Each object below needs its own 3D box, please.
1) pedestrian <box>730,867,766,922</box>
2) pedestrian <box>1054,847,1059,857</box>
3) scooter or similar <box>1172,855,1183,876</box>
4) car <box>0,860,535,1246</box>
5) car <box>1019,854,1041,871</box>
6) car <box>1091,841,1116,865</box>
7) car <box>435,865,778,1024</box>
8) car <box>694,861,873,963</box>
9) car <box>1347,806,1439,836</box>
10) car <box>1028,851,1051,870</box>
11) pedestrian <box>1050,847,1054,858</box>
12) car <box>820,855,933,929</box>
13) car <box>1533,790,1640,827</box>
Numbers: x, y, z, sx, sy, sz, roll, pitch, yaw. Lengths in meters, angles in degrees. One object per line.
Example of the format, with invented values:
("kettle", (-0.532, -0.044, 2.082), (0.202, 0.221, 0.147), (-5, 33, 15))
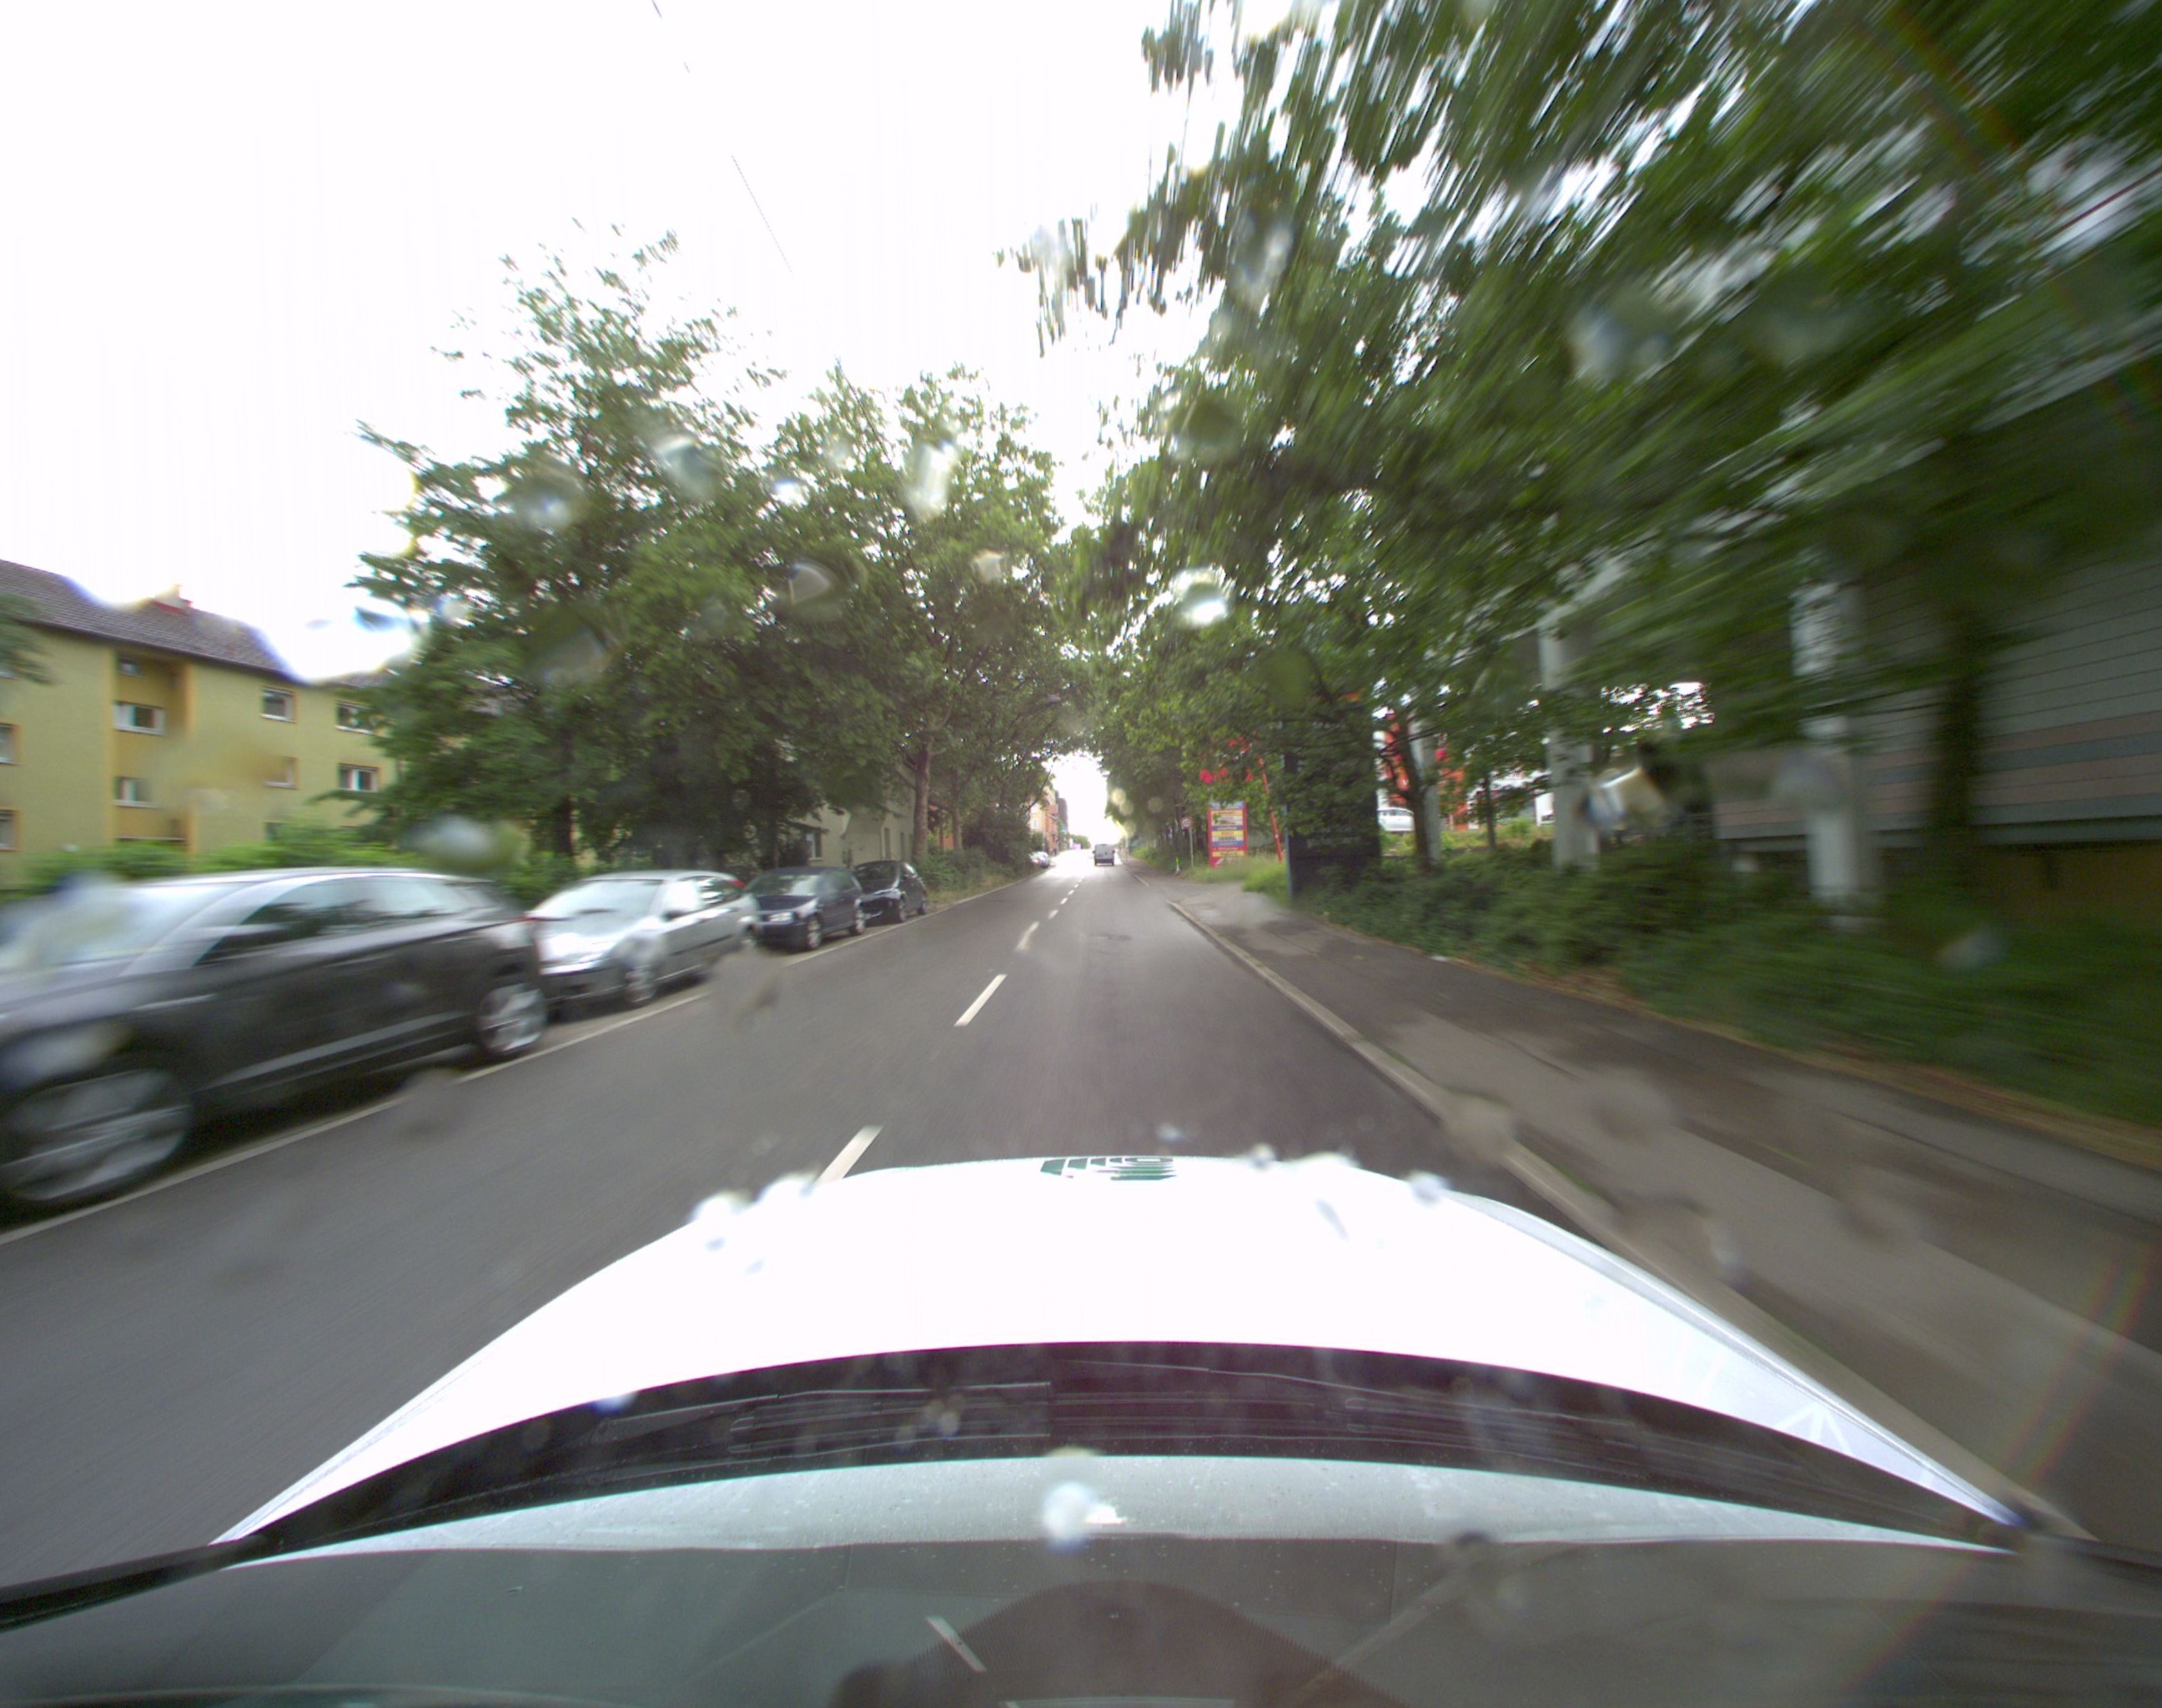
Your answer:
("pedestrian", (-9.958, 1.210, 24.372), (0.584, 1.620, 1.022), (0, -3, 3))
("pedestrian", (-4.961, -0.318, 164.338), (0.668, 2.013, 0.943), (-2, 0, 6))
("scooter or similar", (5.402, 0.659, 45.707), (0.424, 1.142, 1.528), (0, -2, 0))
("car", (-5.460, 0.908, 4.542), (1.859, 1.591, 4.238), (-4, 0, 0))
("car", (-4.329, 0.690, 69.874), (1.633, 1.373, 3.758), (-2, 0, 0))
("car", (2.339, -0.068, 83.345), (2.327, 2.231, 4.002), (-3, -1, 2))
("car", (-5.480, 0.932, 10.134), (1.665, 1.508, 4.126), (-1, 0, 3))
("car", (-5.332, 0.955, 15.172), (1.666, 1.508, 3.876), (-5, 0, 2))
("car", (16.183, -1.697, 42.350), (4.084, 1.376, 1.904), (-1, 0, 2))
("car", (-3.805, 0.574, 75.213), (1.684, 1.542, 4.119), (-5, 1, 2))
("pedestrian", (-5.821, -0.302, 164.393), (0.668, 2.013, 0.943), (-2, 0, 6))
("car", (-5.062, 0.888, 20.720), (1.642, 1.538, 4.019), (-6, 0, 1))
("car", (28.033, -2.494, 45.269), (4.757, 1.783, 1.914), (-2, 0, -3))
